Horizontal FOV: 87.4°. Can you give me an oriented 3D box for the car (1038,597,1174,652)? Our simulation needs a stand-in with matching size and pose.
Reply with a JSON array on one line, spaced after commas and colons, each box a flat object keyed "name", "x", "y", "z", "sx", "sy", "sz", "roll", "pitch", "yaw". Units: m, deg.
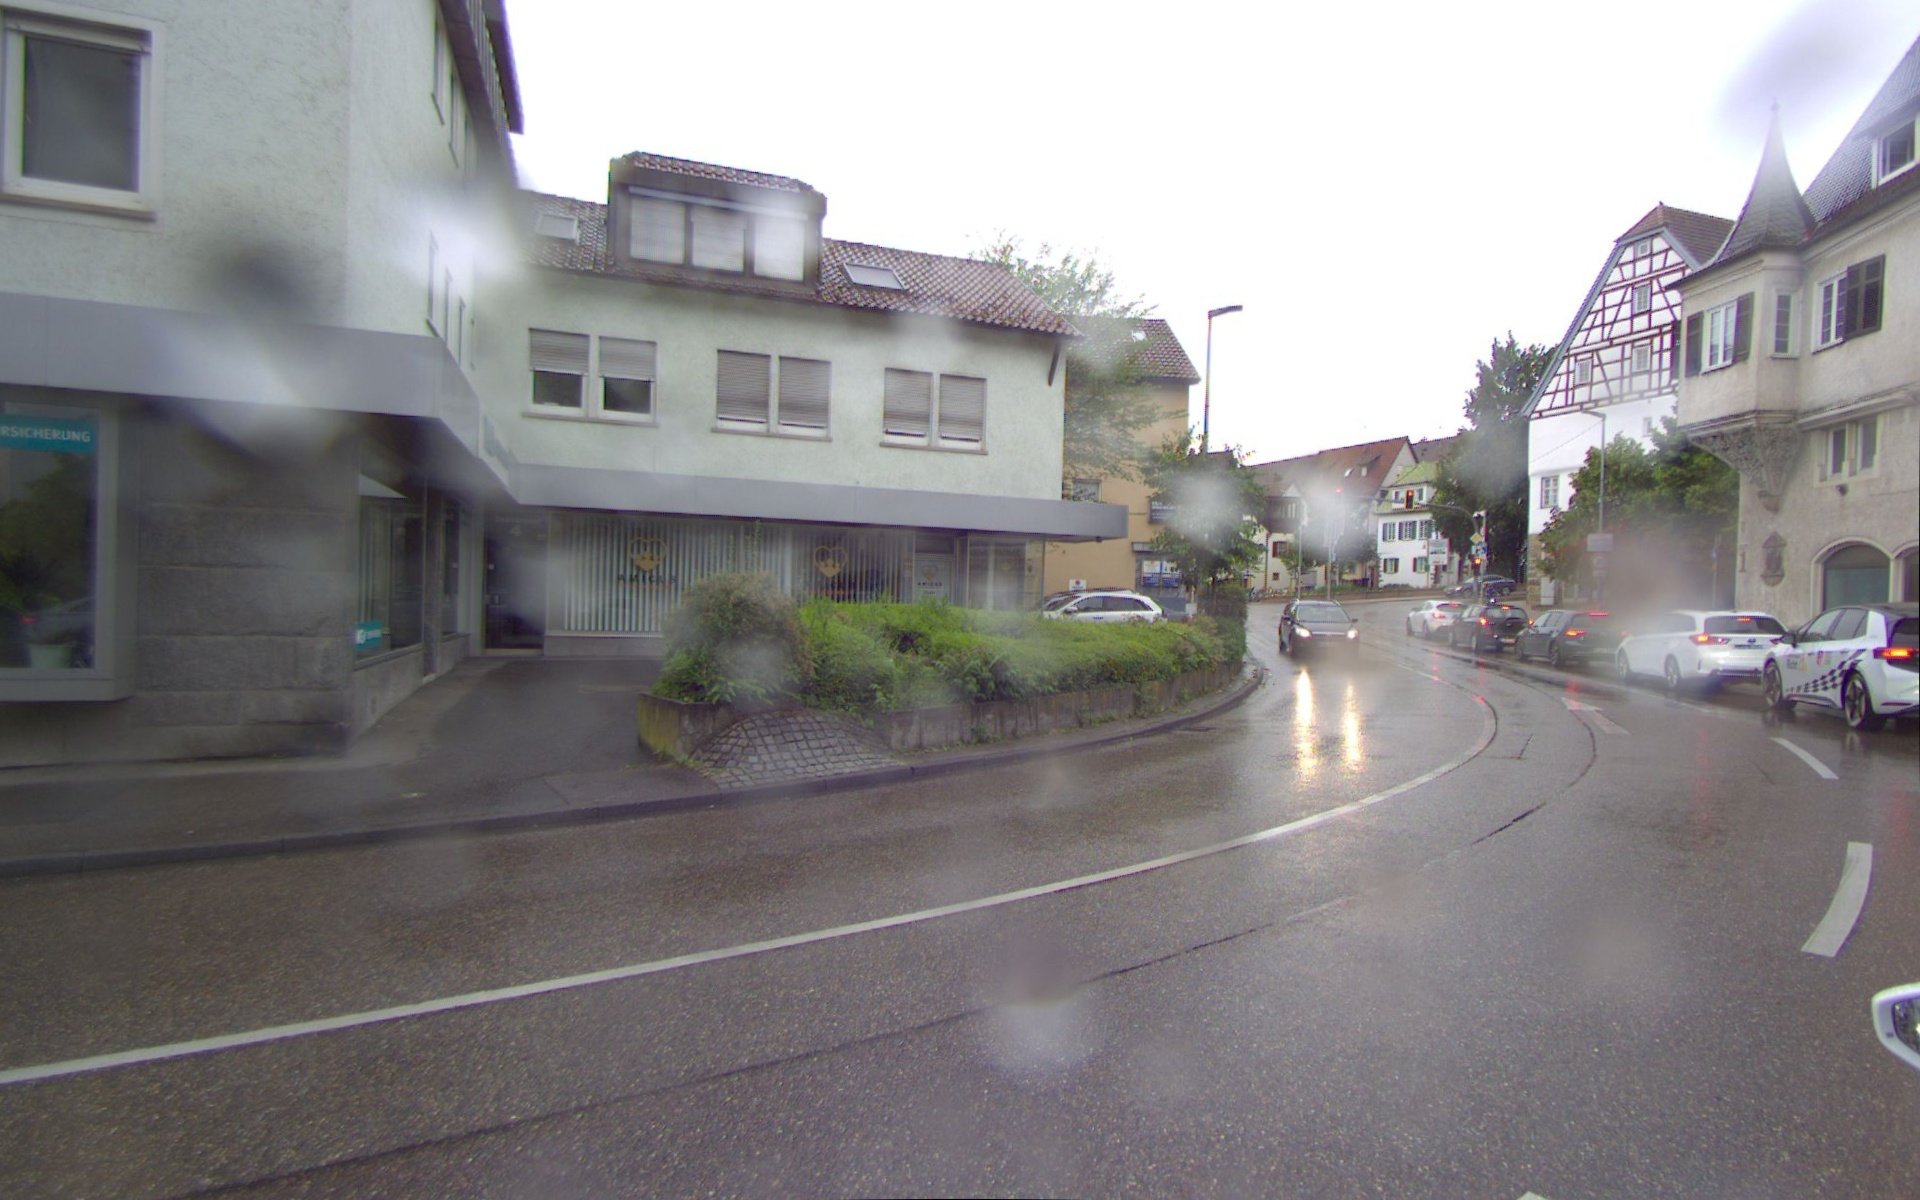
[{"name": "car", "x": 4.073, "y": 0.671, "z": 28.270, "sx": 3.472, "sy": 1.475, "sz": 1.710, "roll": 0, "pitch": 1, "yaw": -8}]

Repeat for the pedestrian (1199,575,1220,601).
[{"name": "pedestrian", "x": 17.782, "y": -0.846, "z": 71.522, "sx": 0.990, "sy": 1.765, "sz": 1.144, "roll": 1, "pitch": 0, "yaw": -20}]

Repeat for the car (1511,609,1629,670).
[{"name": "car", "x": 15.660, "y": 0.966, "z": 25.979, "sx": 1.493, "sy": 1.380, "sz": 3.769, "roll": 0, "pitch": 1, "yaw": 13}]

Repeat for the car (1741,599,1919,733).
[{"name": "car", "x": 12.135, "y": 0.774, "z": 13.292, "sx": 1.760, "sy": 1.537, "sz": 4.239, "roll": -1, "pitch": -1, "yaw": 22}]

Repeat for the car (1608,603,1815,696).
[{"name": "car", "x": 13.968, "y": 0.841, "z": 18.982, "sx": 1.755, "sy": 1.485, "sz": 4.165, "roll": 0, "pitch": 1, "yaw": 16}]

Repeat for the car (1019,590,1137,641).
[{"name": "car", "x": 3.806, "y": 0.486, "z": 32.693, "sx": 3.472, "sy": 1.597, "sz": 1.710, "roll": 0, "pitch": 1, "yaw": -8}]

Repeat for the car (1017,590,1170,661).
[{"name": "car", "x": 3.292, "y": 0.618, "z": 25.191, "sx": 3.472, "sy": 1.708, "sz": 1.710, "roll": 0, "pitch": 1, "yaw": -8}]

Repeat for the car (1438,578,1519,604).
[{"name": "car", "x": 33.515, "y": -0.616, "z": 64.979, "sx": 4.446, "sy": 1.409, "sz": 1.648, "roll": 1, "pitch": 7, "yaw": -8}]

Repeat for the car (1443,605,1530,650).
[{"name": "car", "x": 16.972, "y": 0.861, "z": 32.532, "sx": 1.634, "sy": 1.330, "sz": 3.625, "roll": 0, "pitch": 1, "yaw": 13}]

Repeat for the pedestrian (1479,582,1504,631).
[{"name": "pedestrian", "x": 25.967, "y": 0.334, "z": 49.100, "sx": 0.851, "sy": 2.357, "sz": 1.231, "roll": 1, "pitch": 0, "yaw": 18}]

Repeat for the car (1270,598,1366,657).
[{"name": "car", "x": 9.959, "y": 0.751, "z": 28.262, "sx": 1.702, "sy": 1.530, "sz": 4.276, "roll": 0, "pitch": -1, "yaw": 8}]

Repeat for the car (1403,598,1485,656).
[{"name": "car", "x": 18.684, "y": 1.003, "z": 38.960, "sx": 1.939, "sy": 2.118, "sz": 3.963, "roll": 0, "pitch": 1, "yaw": 11}]
